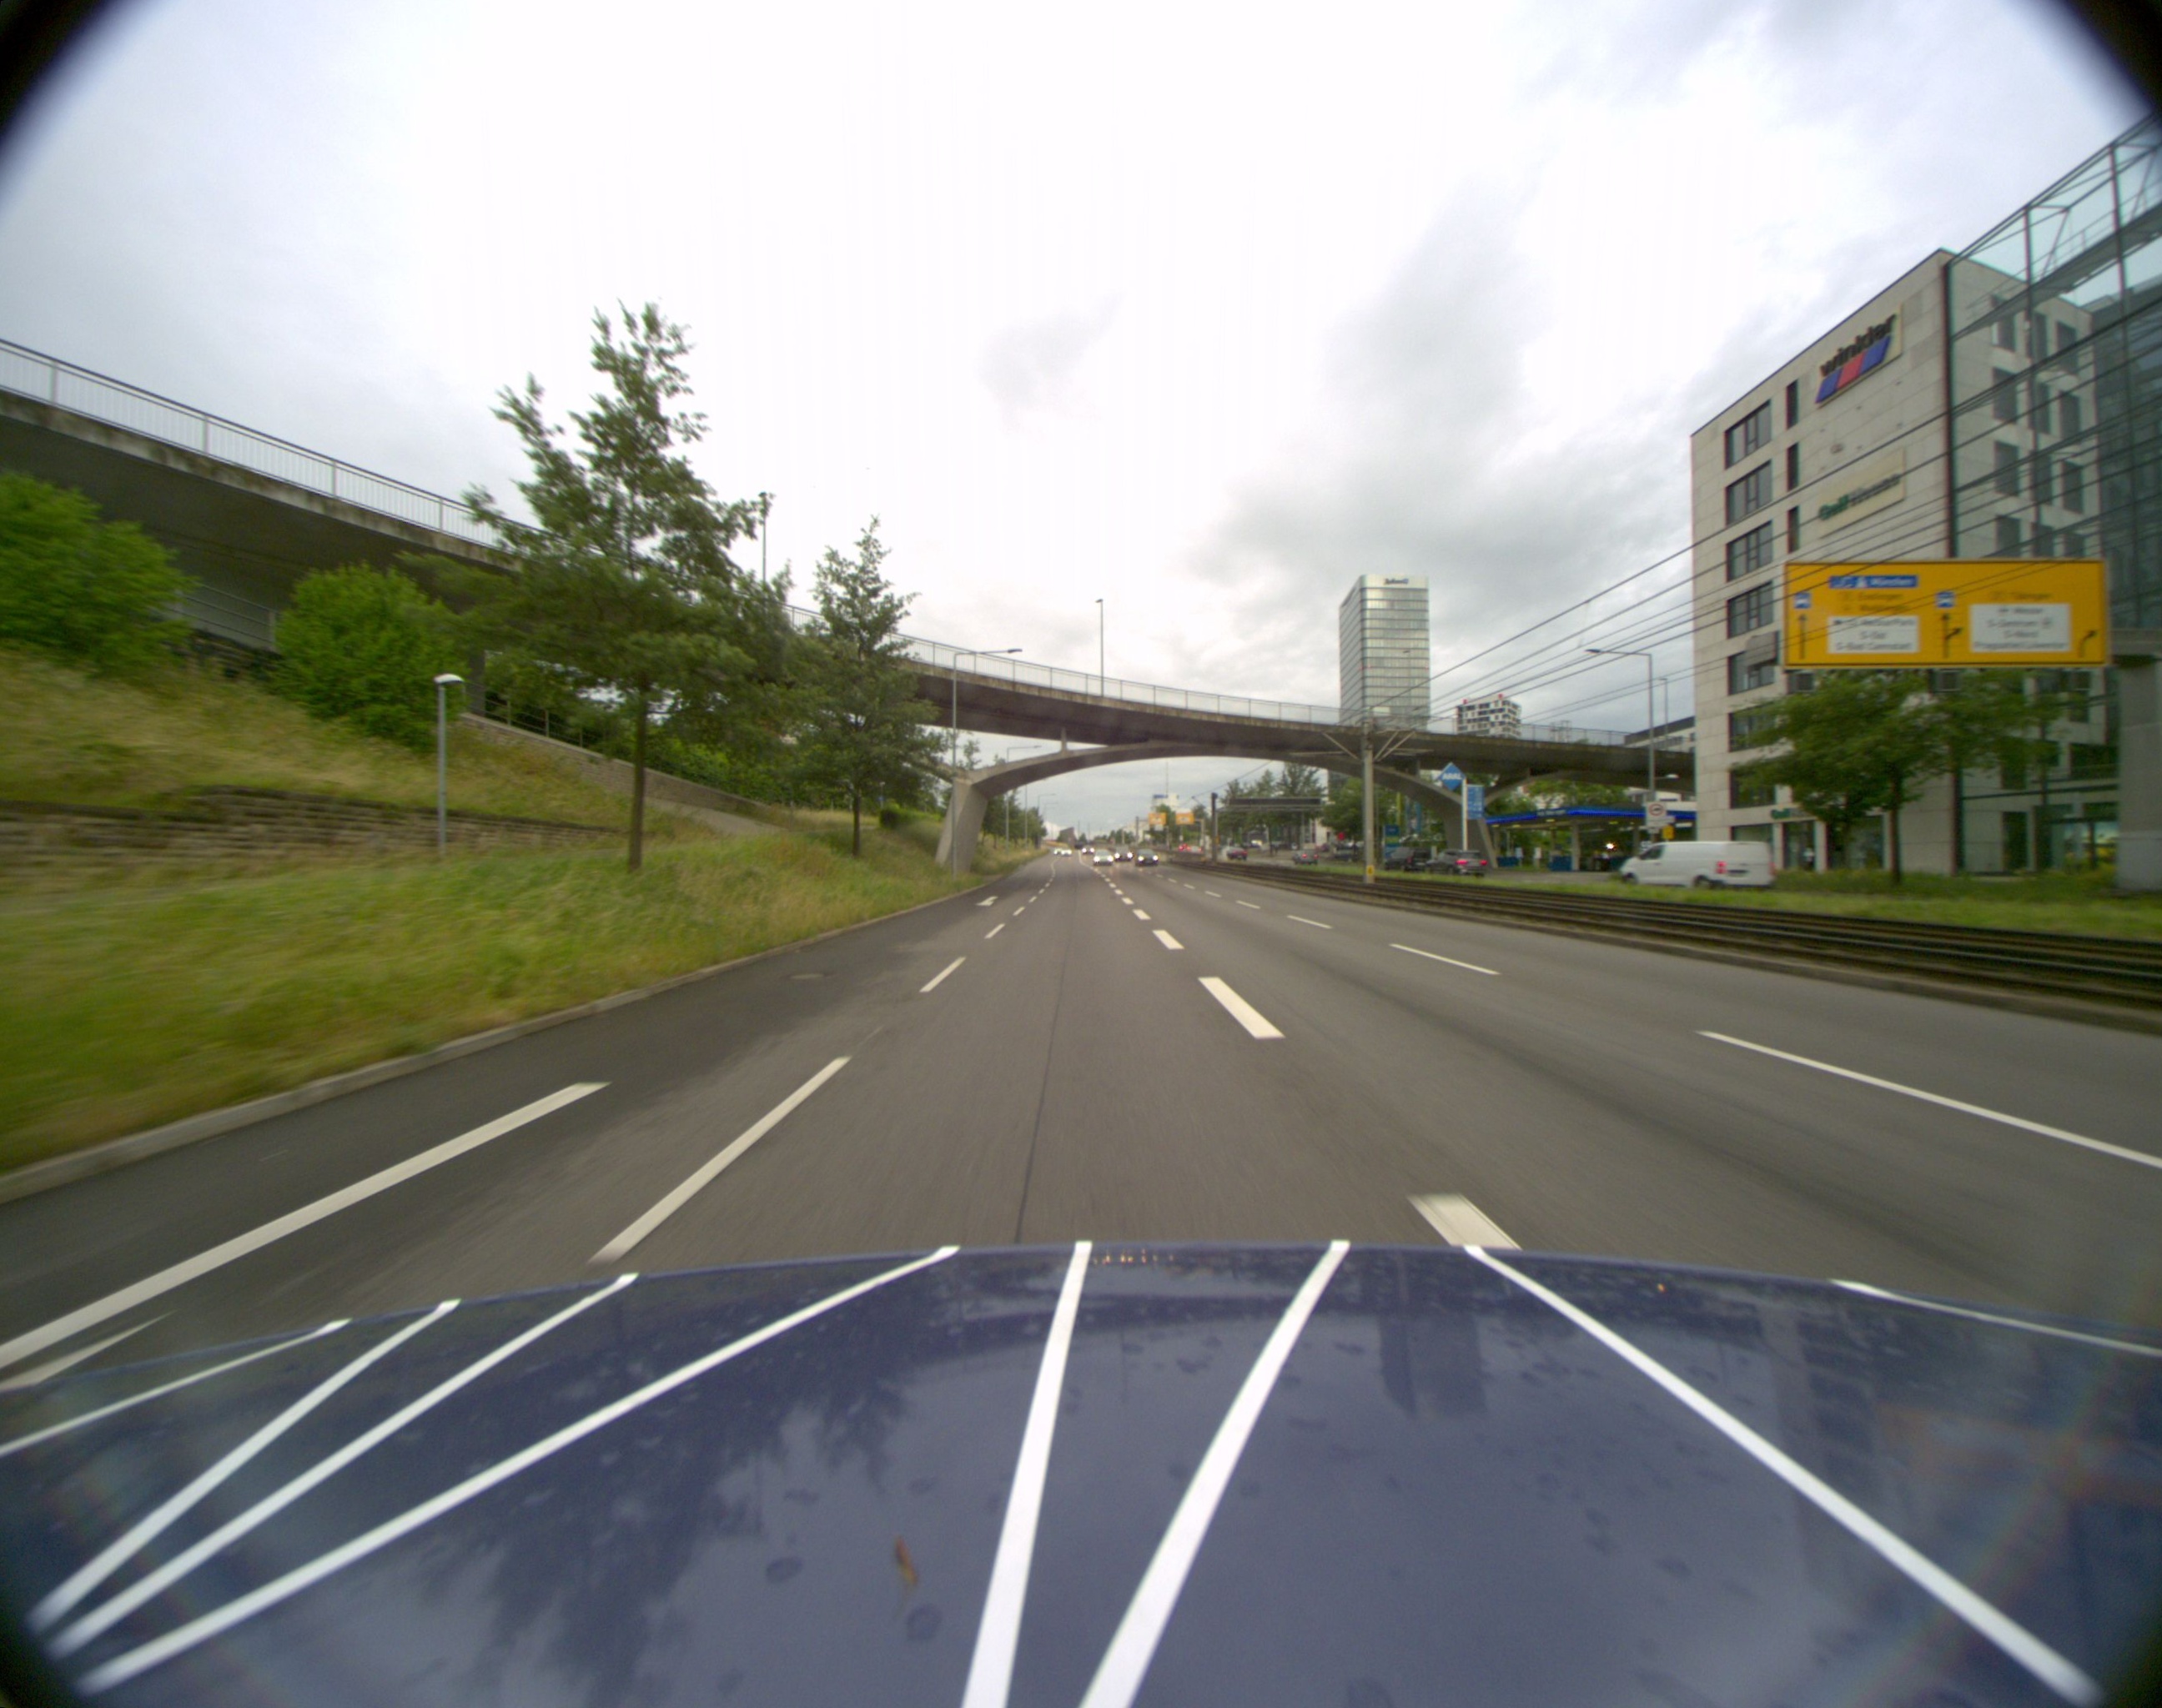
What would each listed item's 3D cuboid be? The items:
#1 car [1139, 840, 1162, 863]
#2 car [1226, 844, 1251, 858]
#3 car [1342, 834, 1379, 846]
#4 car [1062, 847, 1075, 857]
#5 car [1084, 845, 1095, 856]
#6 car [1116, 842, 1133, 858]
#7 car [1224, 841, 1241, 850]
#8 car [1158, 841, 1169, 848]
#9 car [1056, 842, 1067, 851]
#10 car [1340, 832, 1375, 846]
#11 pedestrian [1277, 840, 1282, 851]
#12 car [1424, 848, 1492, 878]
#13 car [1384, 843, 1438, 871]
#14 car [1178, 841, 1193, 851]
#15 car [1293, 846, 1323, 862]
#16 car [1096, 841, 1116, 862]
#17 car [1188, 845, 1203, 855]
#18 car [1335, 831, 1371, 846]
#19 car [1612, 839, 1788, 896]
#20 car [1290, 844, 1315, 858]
[{"bbox_3d":[6.152,-0.224,67.846,1.794,1.858,4.376,-2,2,2],"label":"car"},{"bbox_3d":[18.882,-0.328,91.241,1.814,1.524,4.868,-2,0,-1],"label":"car"},{"bbox_3d":[38.176,-1.877,103.699,4.363,1.495,1.885,-2,2,3],"label":"car"},{"bbox_3d":[-2.151,-0.344,131.312,1.794,1.622,4.376,-2,2,2],"label":"car"},{"bbox_3d":[1.608,-0.690,136.838,1.794,1.858,4.376,-2,2,2],"label":"car"},{"bbox_3d":[4.895,-0.490,85.402,1.794,1.536,4.376,-2,2,2],"label":"car"},{"bbox_3d":[25.237,-1.381,126.462,1.925,1.488,4.656,2,1,2],"label":"car"},{"bbox_3d":[19.157,-2.297,176.563,2.052,1.530,4.758,-2,0,-2],"label":"car"},{"bbox_3d":[-3.888,-1.505,152.079,1.794,1.622,4.376,-2,2,2],"label":"car"},{"bbox_3d":[38.447,-2.091,105.631,4.196,1.762,1.885,-2,2,3],"label":"car"},{"bbox_3d":[33.753,-1.491,129.453,0.688,1.786,0.636,-2,2,1],"label":"pedestrian"},{"bbox_3d":[22.043,0.477,44.662,1.814,1.597,4.491,-2,0,1],"label":"car"},{"bbox_3d":[24.863,0.185,57.467,2.063,1.941,5.133,-2,0,4],"label":"car"},{"bbox_3d":[18.890,-1.393,137.554,1.926,1.766,4.223,-3,0,-3],"label":"car"},{"bbox_3d":[22.866,0.020,76.545,1.814,1.524,4.275,-2,0,2],"label":"car"},{"bbox_3d":[2.475,-0.285,73.868,1.794,1.858,4.376,-2,2,2],"label":"car"},{"bbox_3d":[18.505,-0.651,123.404,1.768,1.588,4.792,-2,0,1],"label":"car"},{"bbox_3d":[38.786,-2.223,108.459,4.363,1.936,1.885,-2,2,3],"label":"car"},{"bbox_3d":[21.539,0.408,26.787,1.943,1.751,5.061,-2,0,-1],"label":"car"},{"bbox_3d":[26.254,-0.378,90.207,1.768,1.588,4.491,-2,0,1],"label":"car"}]
